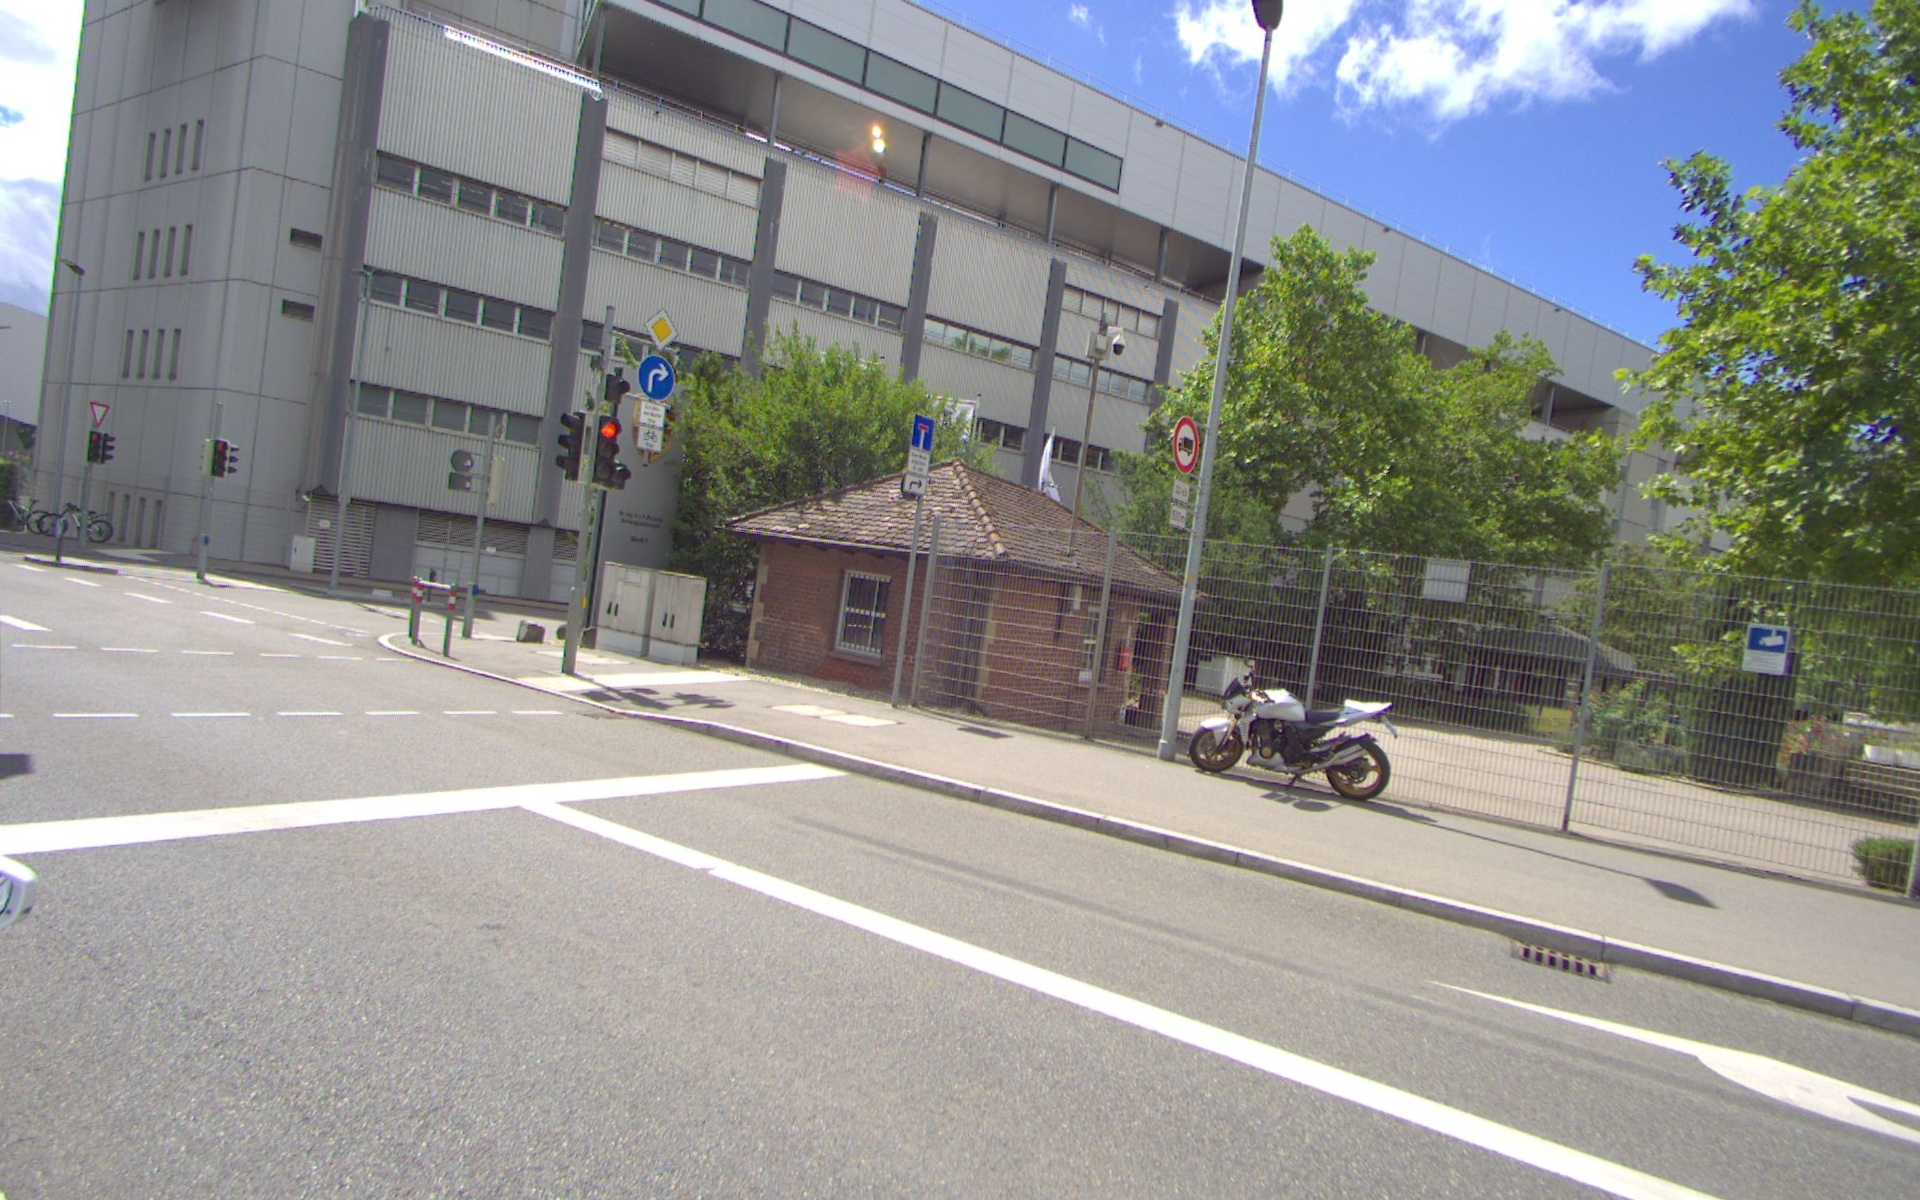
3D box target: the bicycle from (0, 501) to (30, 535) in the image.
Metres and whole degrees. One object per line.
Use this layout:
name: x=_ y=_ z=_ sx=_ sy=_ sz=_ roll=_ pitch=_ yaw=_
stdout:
bicycle: x=-29.809 y=-2.602 z=31.148 sx=1.891 sy=0.948 sz=0.399 roll=7 pitch=0 yaw=13

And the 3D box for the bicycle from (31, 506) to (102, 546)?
bicycle: x=-27.385 y=-2.265 z=30.833 sx=1.892 sy=0.948 sz=0.399 roll=7 pitch=0 yaw=6

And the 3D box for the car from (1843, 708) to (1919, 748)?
car: x=52.903 y=7.294 z=56.893 sx=1.979 sy=1.803 sz=3.970 roll=8 pitch=-2 yaw=-30

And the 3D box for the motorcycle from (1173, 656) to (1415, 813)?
motorcycle: x=3.324 y=1.292 z=10.076 sx=2.110 sy=1.173 sz=0.693 roll=7 pitch=2 yaw=27
